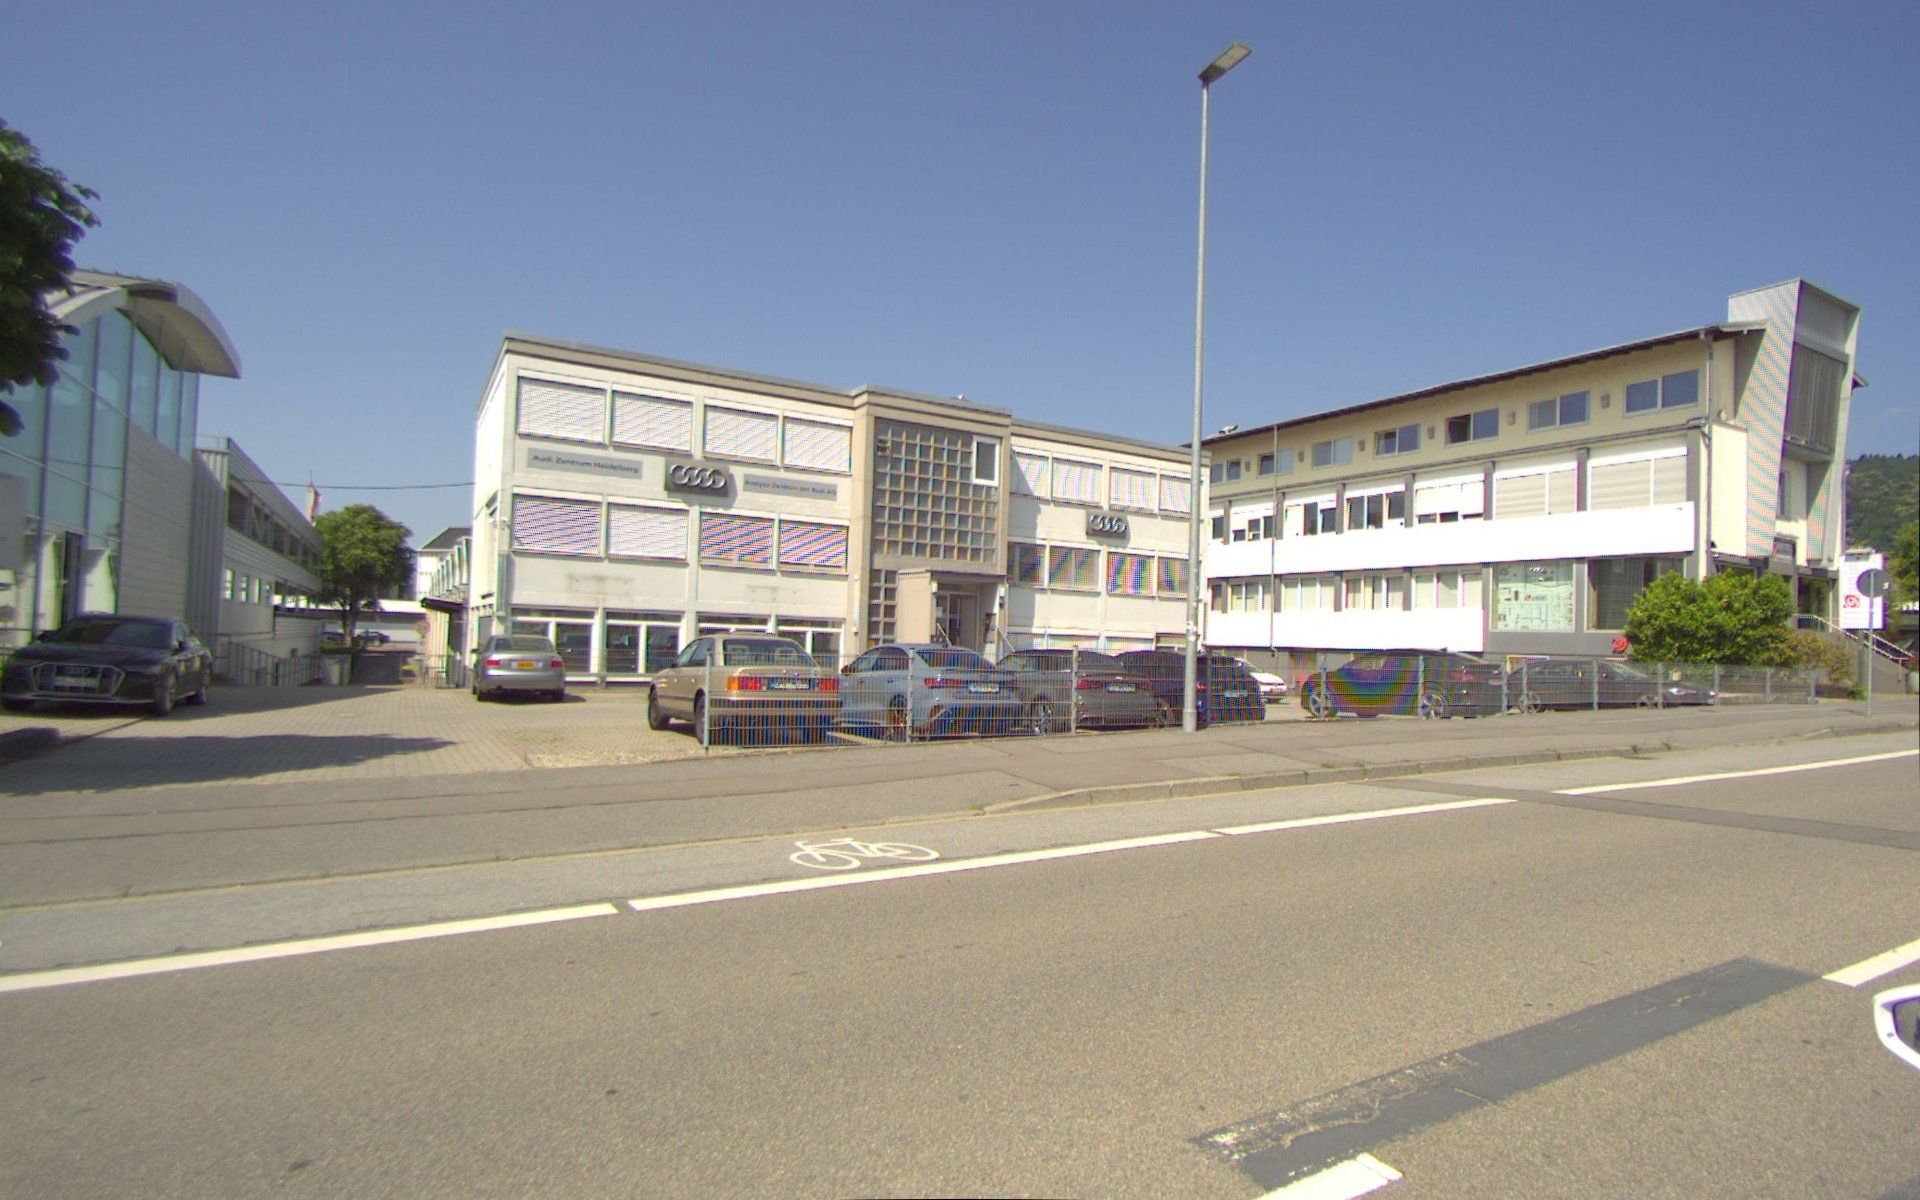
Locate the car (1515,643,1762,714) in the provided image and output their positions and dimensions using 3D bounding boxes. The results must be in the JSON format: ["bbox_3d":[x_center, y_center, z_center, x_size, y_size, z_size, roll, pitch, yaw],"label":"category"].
[{"bbox_3d":[16.668,1.875,24.953,2.025,1.500,4.715,2,-2,-31],"label":"car"}]

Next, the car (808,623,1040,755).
[{"bbox_3d":[-0.686,1.280,15.314,1.803,1.463,3.870,5,0,-31],"label":"car"}]

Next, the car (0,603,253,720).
[{"bbox_3d":[-13.019,0.939,15.783,1.853,1.526,3.468,5,-3,-14],"label":"car"}]

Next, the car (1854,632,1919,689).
[{"bbox_3d":[33.750,2.112,34.261,2.072,1.890,4.537,2,-1,-34],"label":"car"}]

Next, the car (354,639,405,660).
[{"bbox_3d":[-55.374,4.734,95.836,3.962,1.951,1.980,2,-2,-36],"label":"car"}]

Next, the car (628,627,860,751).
[{"bbox_3d":[-3.280,1.150,14.491,1.879,1.476,4.500,2,-2,-31],"label":"car"}]

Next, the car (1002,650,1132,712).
[{"bbox_3d":[3.125,2.367,30.029,1.838,1.566,3.967,2,-2,-31],"label":"car"}]

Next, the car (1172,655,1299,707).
[{"bbox_3d":[9.188,2.685,33.805,1.838,1.480,3.967,2,-2,-31],"label":"car"}]

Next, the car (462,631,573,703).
[{"bbox_3d":[-9.948,1.438,22.421,1.837,1.377,3.968,2,-2,-30],"label":"car"}]

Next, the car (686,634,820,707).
[{"bbox_3d":[-5.280,1.690,25.193,1.839,1.573,4.329,2,-2,-32],"label":"car"}]

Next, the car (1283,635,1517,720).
[{"bbox_3d":[9.374,1.591,21.726,1.974,1.579,4.271,2,-2,-33],"label":"car"}]

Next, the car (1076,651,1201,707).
[{"bbox_3d":[5.443,2.413,31.082,1.792,1.421,3.974,4,-2,-26],"label":"car"}]

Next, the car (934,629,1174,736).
[{"bbox_3d":[1.363,1.448,16.217,1.839,1.460,3.969,5,-9,-32],"label":"car"}]

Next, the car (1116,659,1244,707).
[{"bbox_3d":[7.082,2.659,32.668,1.838,1.281,3.967,2,-2,-31],"label":"car"}]

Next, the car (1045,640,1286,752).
[{"bbox_3d":[3.482,1.613,17.682,1.840,1.509,3.963,5,-1,-33],"label":"car"}]

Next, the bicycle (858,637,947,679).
[{"bbox_3d":[-1.722,1.755,30.361,2.548,1.194,0.920,2,-1,-32],"label":"bicycle"}]
